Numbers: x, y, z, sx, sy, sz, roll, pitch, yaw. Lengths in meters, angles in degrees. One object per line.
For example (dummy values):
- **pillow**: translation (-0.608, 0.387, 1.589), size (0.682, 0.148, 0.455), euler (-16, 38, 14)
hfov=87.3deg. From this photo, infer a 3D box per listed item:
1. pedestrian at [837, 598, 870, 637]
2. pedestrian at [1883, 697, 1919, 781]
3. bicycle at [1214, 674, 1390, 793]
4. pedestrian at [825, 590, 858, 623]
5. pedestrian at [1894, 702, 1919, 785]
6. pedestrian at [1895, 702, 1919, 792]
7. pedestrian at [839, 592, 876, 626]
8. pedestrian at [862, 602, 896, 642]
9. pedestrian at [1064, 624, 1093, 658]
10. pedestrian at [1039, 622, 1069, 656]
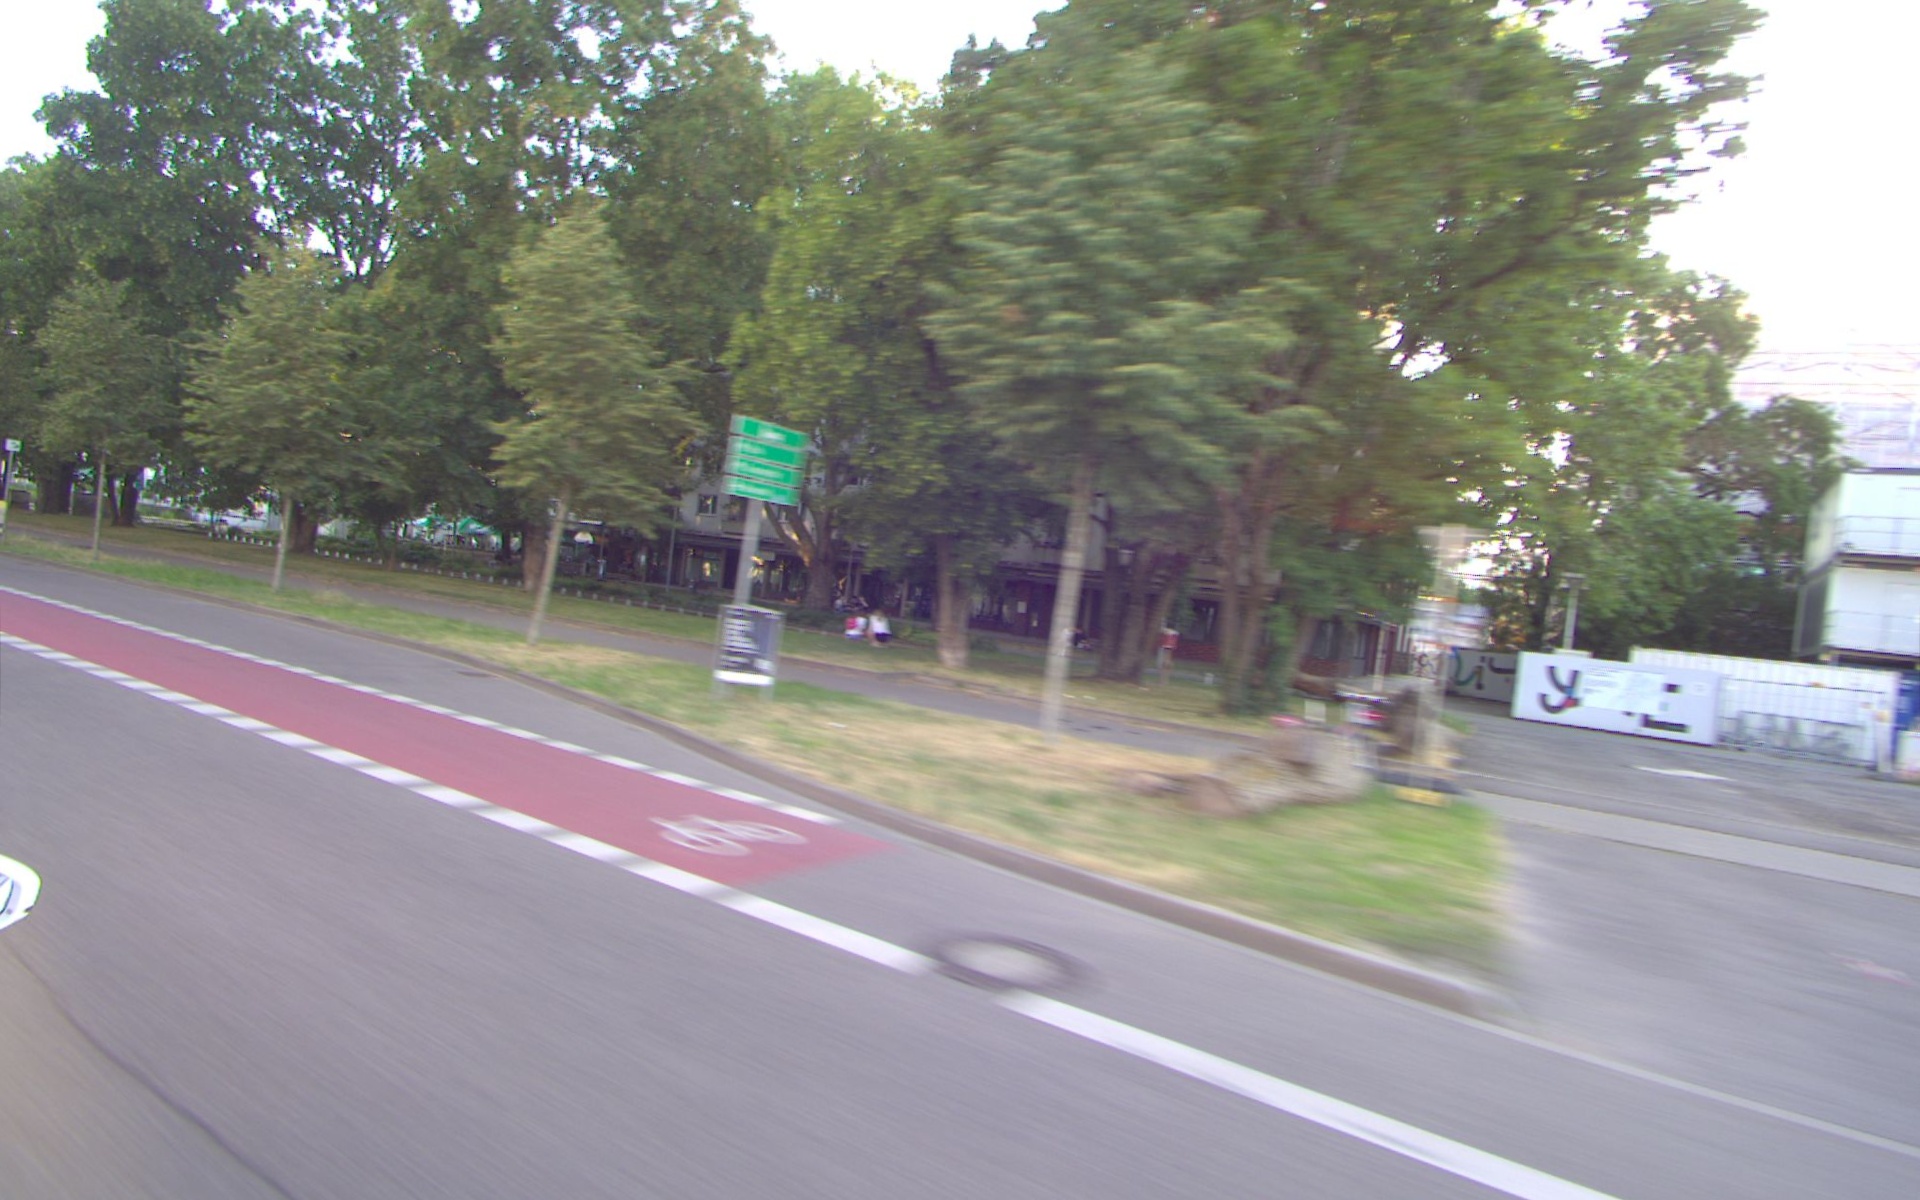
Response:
- **pedestrian**: translation (-2.608, 0.435, 24.726), size (0.582, 0.895, 0.681), euler (6, 1, 7)
- **pedestrian**: translation (22.265, 3.258, 23.658), size (0.764, 1.879, 0.592), euler (5, 2, -44)
- **bicycle**: translation (3.904, 1.500, 11.654), size (0.491, 1.019, 1.877), euler (3, 4, -39)
- **pedestrian**: translation (-5.034, 0.282, 42.817), size (0.714, 1.276, 1.132), euler (7, 1, 33)
- **pedestrian**: translation (23.054, 3.464, 24.244), size (0.764, 1.925, 0.592), euler (5, 2, -44)
- **pedestrian**: translation (21.485, 3.301, 22.530), size (0.764, 1.943, 0.592), euler (5, 2, -44)
- **pedestrian**: translation (-4.294, 0.382, 42.245), size (0.891, 1.276, 1.132), euler (7, 1, 34)
- **pedestrian**: translation (-1.983, 0.545, 24.724), size (0.611, 0.895, 0.681), euler (7, 1, 7)
- **pedestrian**: translation (4.391, 1.511, 37.196), size (0.753, 1.179, 0.788), euler (7, 1, 26)
- **pedestrian**: translation (3.522, 1.467, 37.609), size (0.753, 1.179, 0.788), euler (7, 1, 26)
